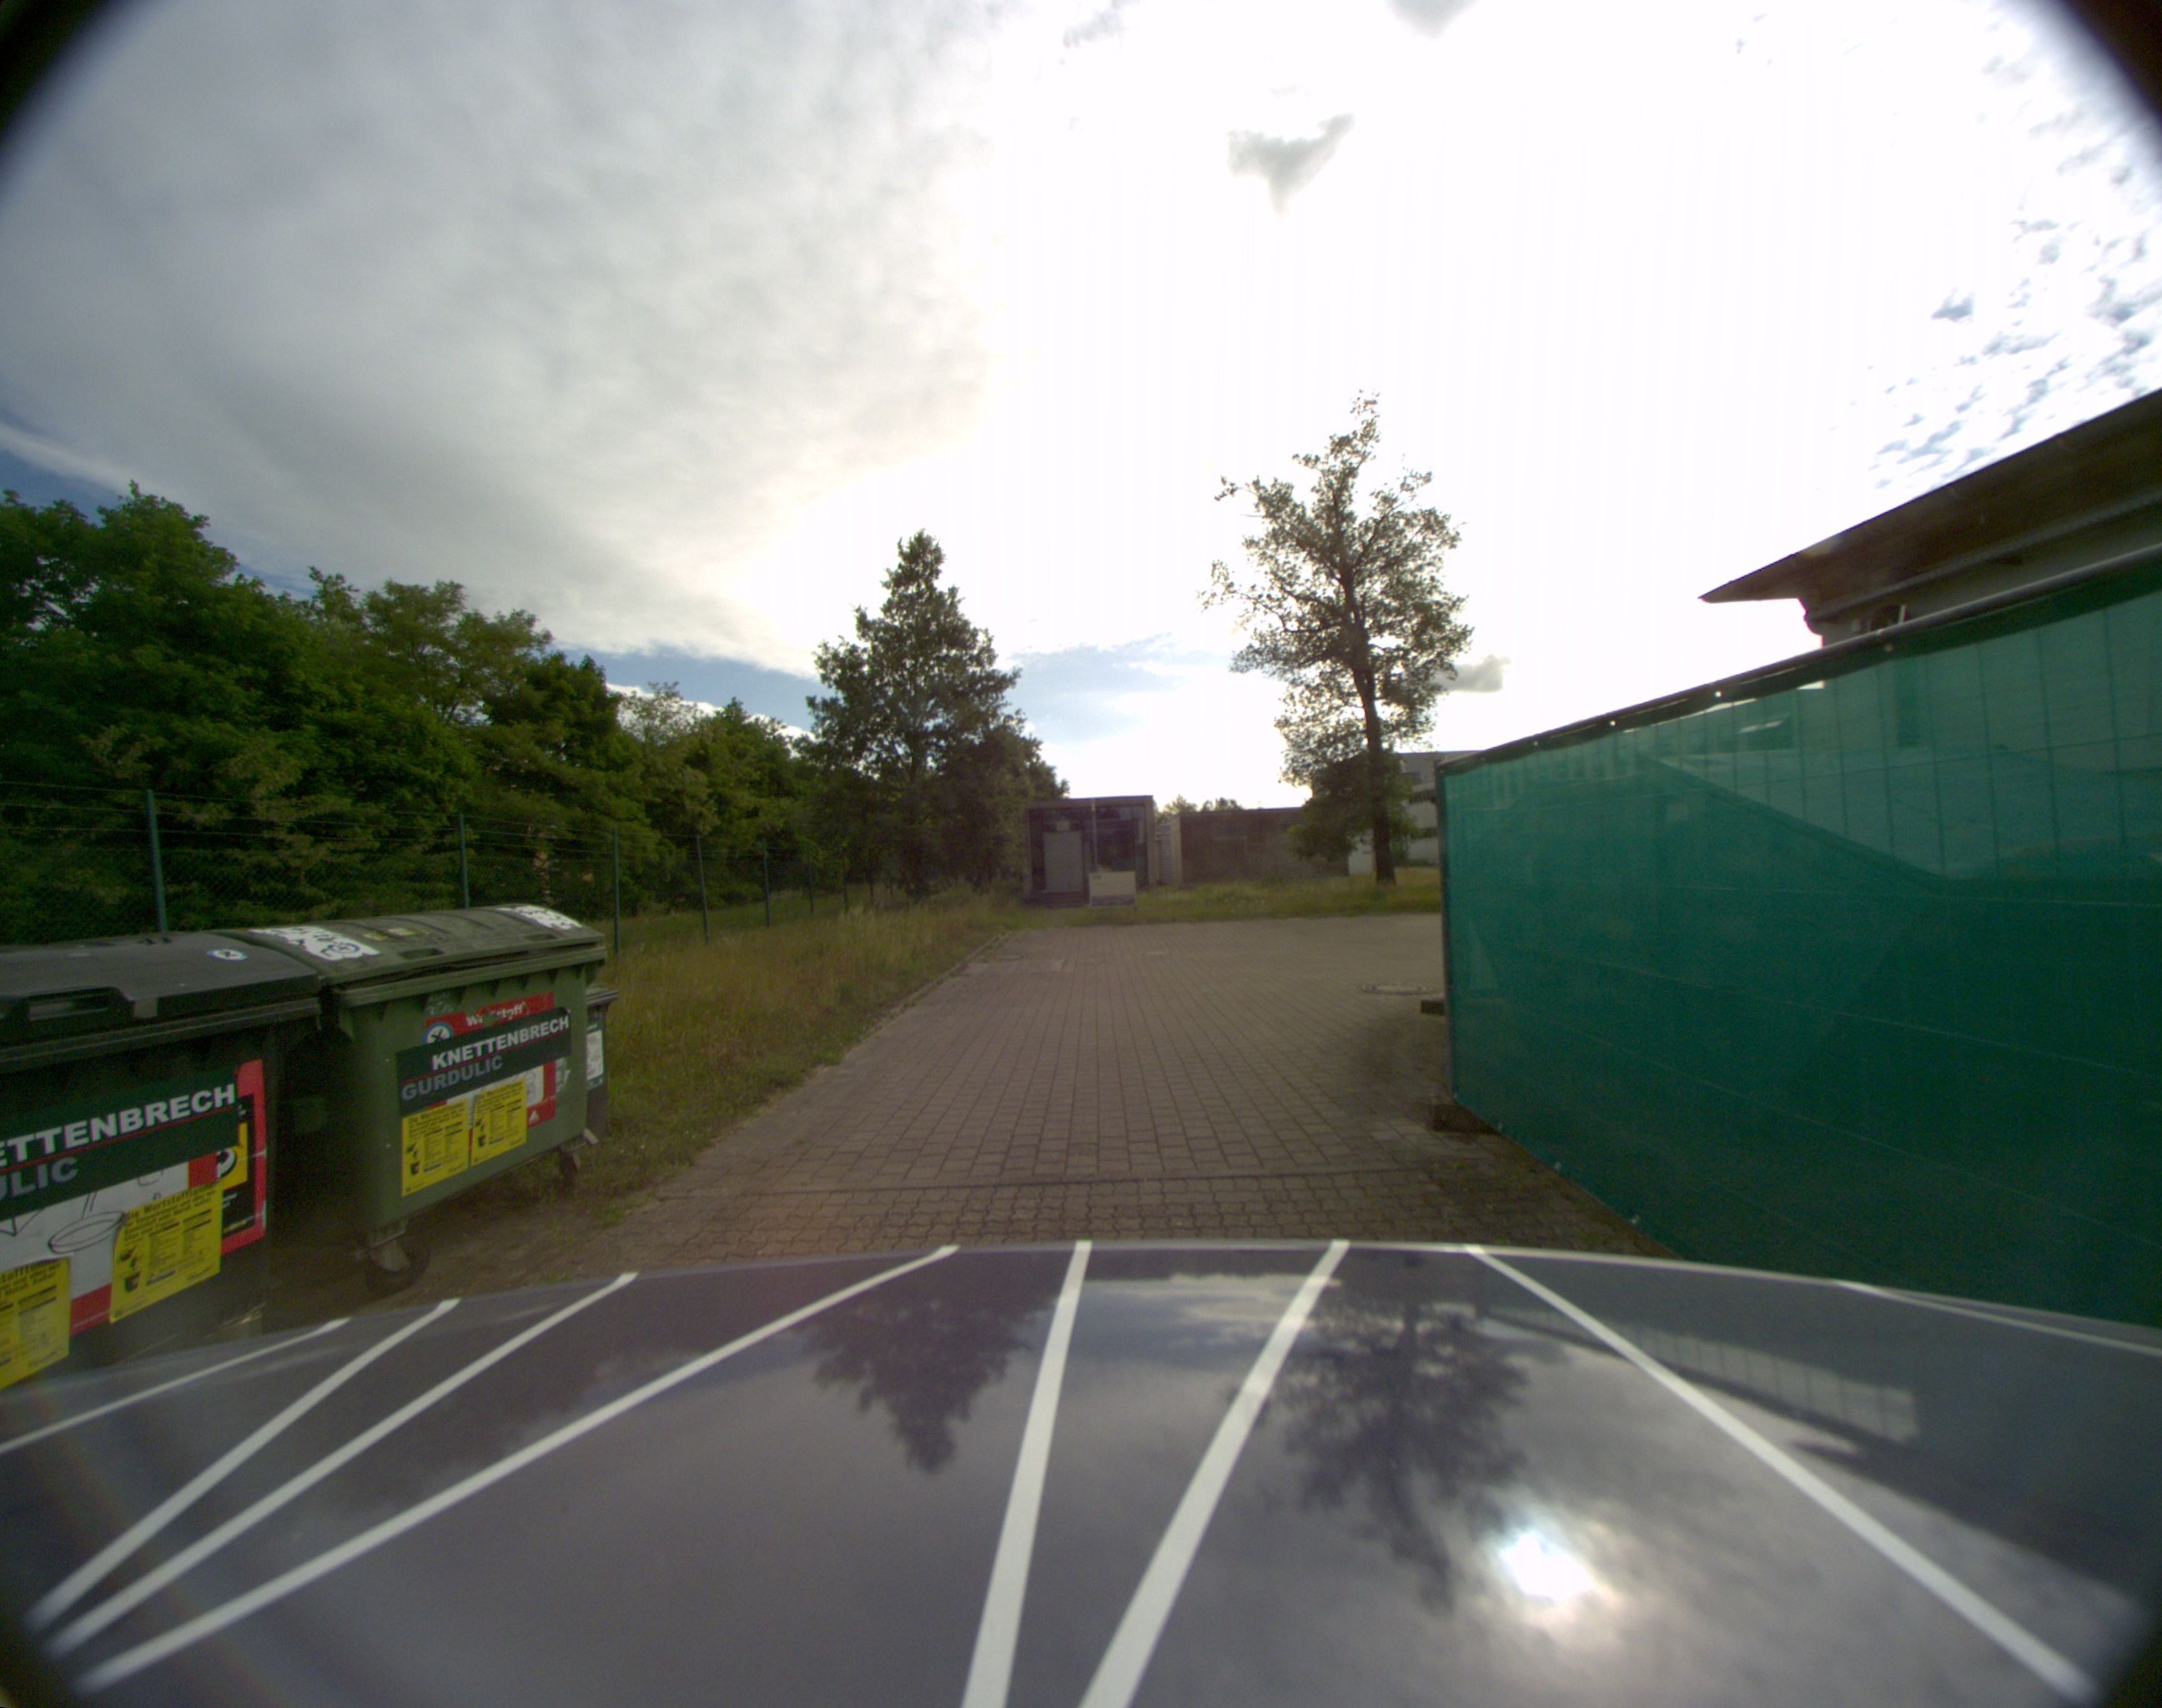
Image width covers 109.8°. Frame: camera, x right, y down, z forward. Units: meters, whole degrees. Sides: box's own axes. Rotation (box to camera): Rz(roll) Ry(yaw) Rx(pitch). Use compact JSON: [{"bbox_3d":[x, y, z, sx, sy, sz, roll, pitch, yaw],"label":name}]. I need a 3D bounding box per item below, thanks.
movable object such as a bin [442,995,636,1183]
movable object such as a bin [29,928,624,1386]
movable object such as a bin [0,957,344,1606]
[{"bbox_3d":[-3.011,1.286,4.267,0.601,0.861,0.586,-3,1,10],"label":"movable object such as a bin"},{"bbox_3d":[-3.043,1.107,3.296,1.130,1.387,1.357,-3,1,10],"label":"movable object such as a bin"},{"bbox_3d":[-3.121,1.094,1.903,1.071,1.426,1.398,-3,1,4],"label":"movable object such as a bin"}]
